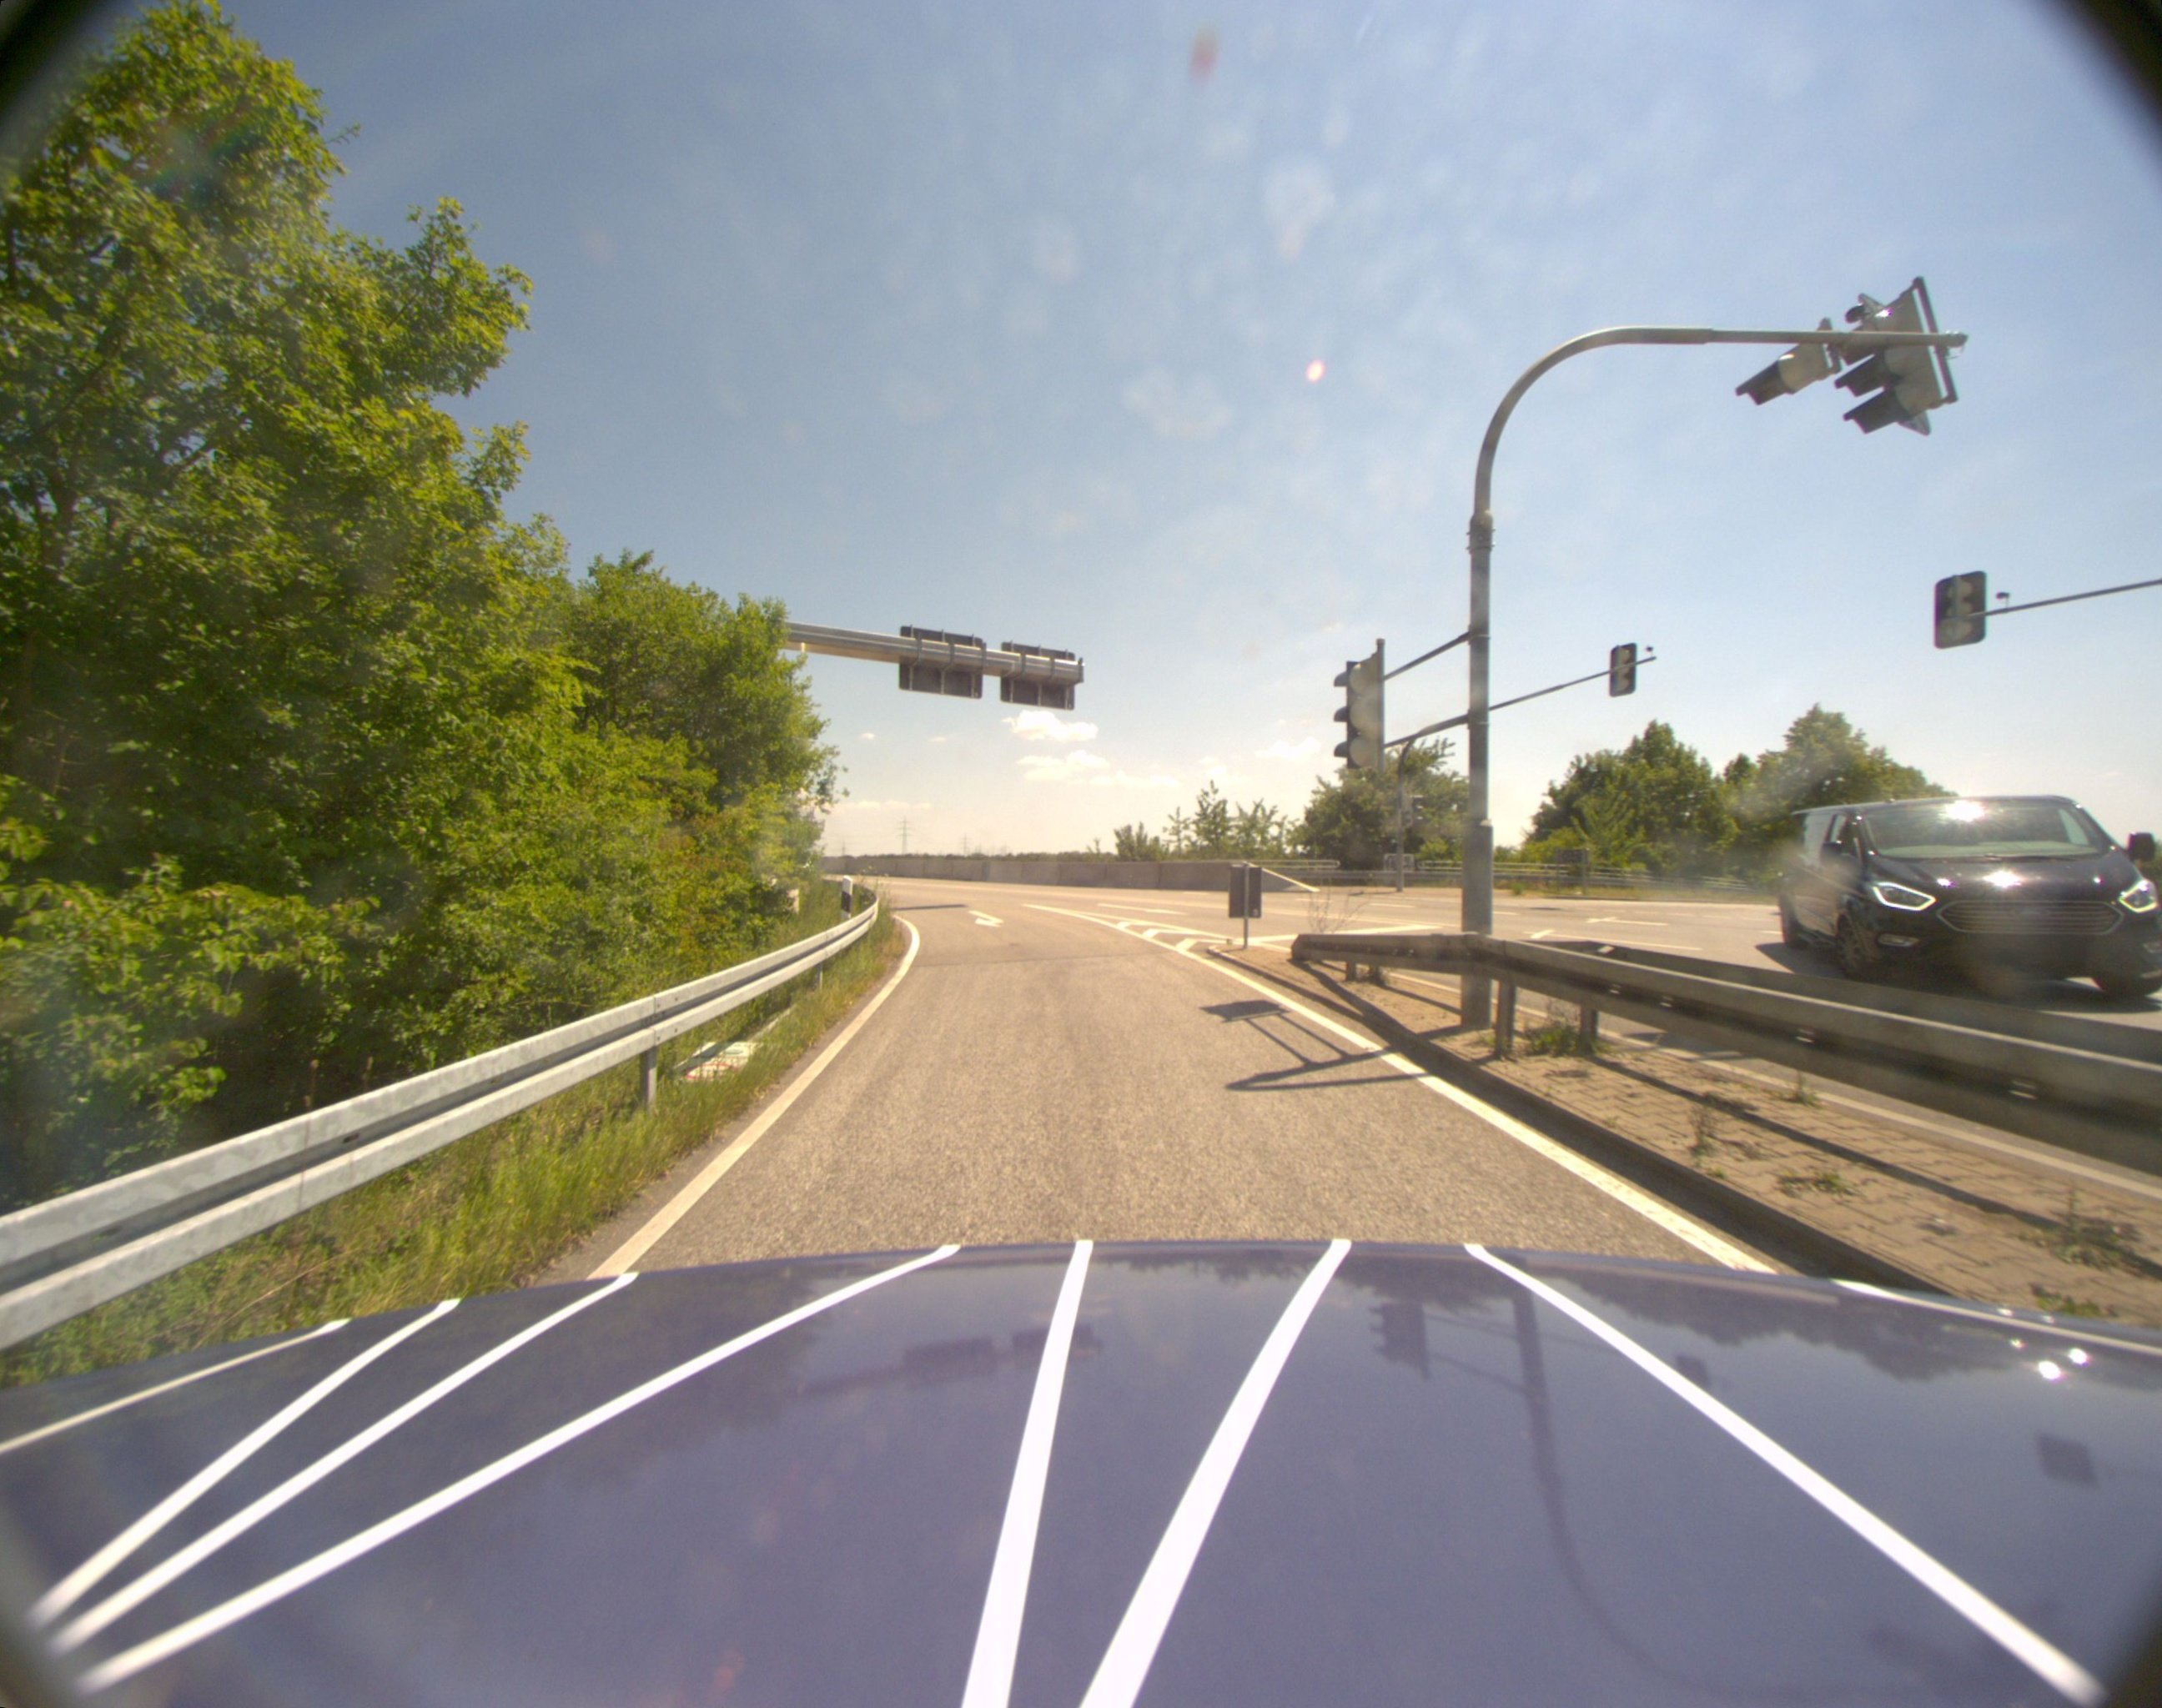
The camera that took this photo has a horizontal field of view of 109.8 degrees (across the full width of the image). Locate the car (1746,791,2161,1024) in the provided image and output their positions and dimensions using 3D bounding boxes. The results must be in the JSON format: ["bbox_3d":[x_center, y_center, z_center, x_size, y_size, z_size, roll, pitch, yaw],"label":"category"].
[{"bbox_3d":[9.790,0.395,8.925,2.120,1.926,5.421,-1,1,32],"label":"car"}]

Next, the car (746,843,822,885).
[{"bbox_3d":[-16.181,0.455,41.250,2.036,2.073,5.855,-2,2,-40],"label":"car"}]

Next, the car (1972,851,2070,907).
[{"bbox_3d":[28.922,0.715,23.394,4.007,1.520,1.790,-1,0,-38],"label":"car"}]

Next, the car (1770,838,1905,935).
[{"bbox_3d":[17.192,0.667,17.428,1.939,1.908,4.543,2,1,43],"label":"car"}]
